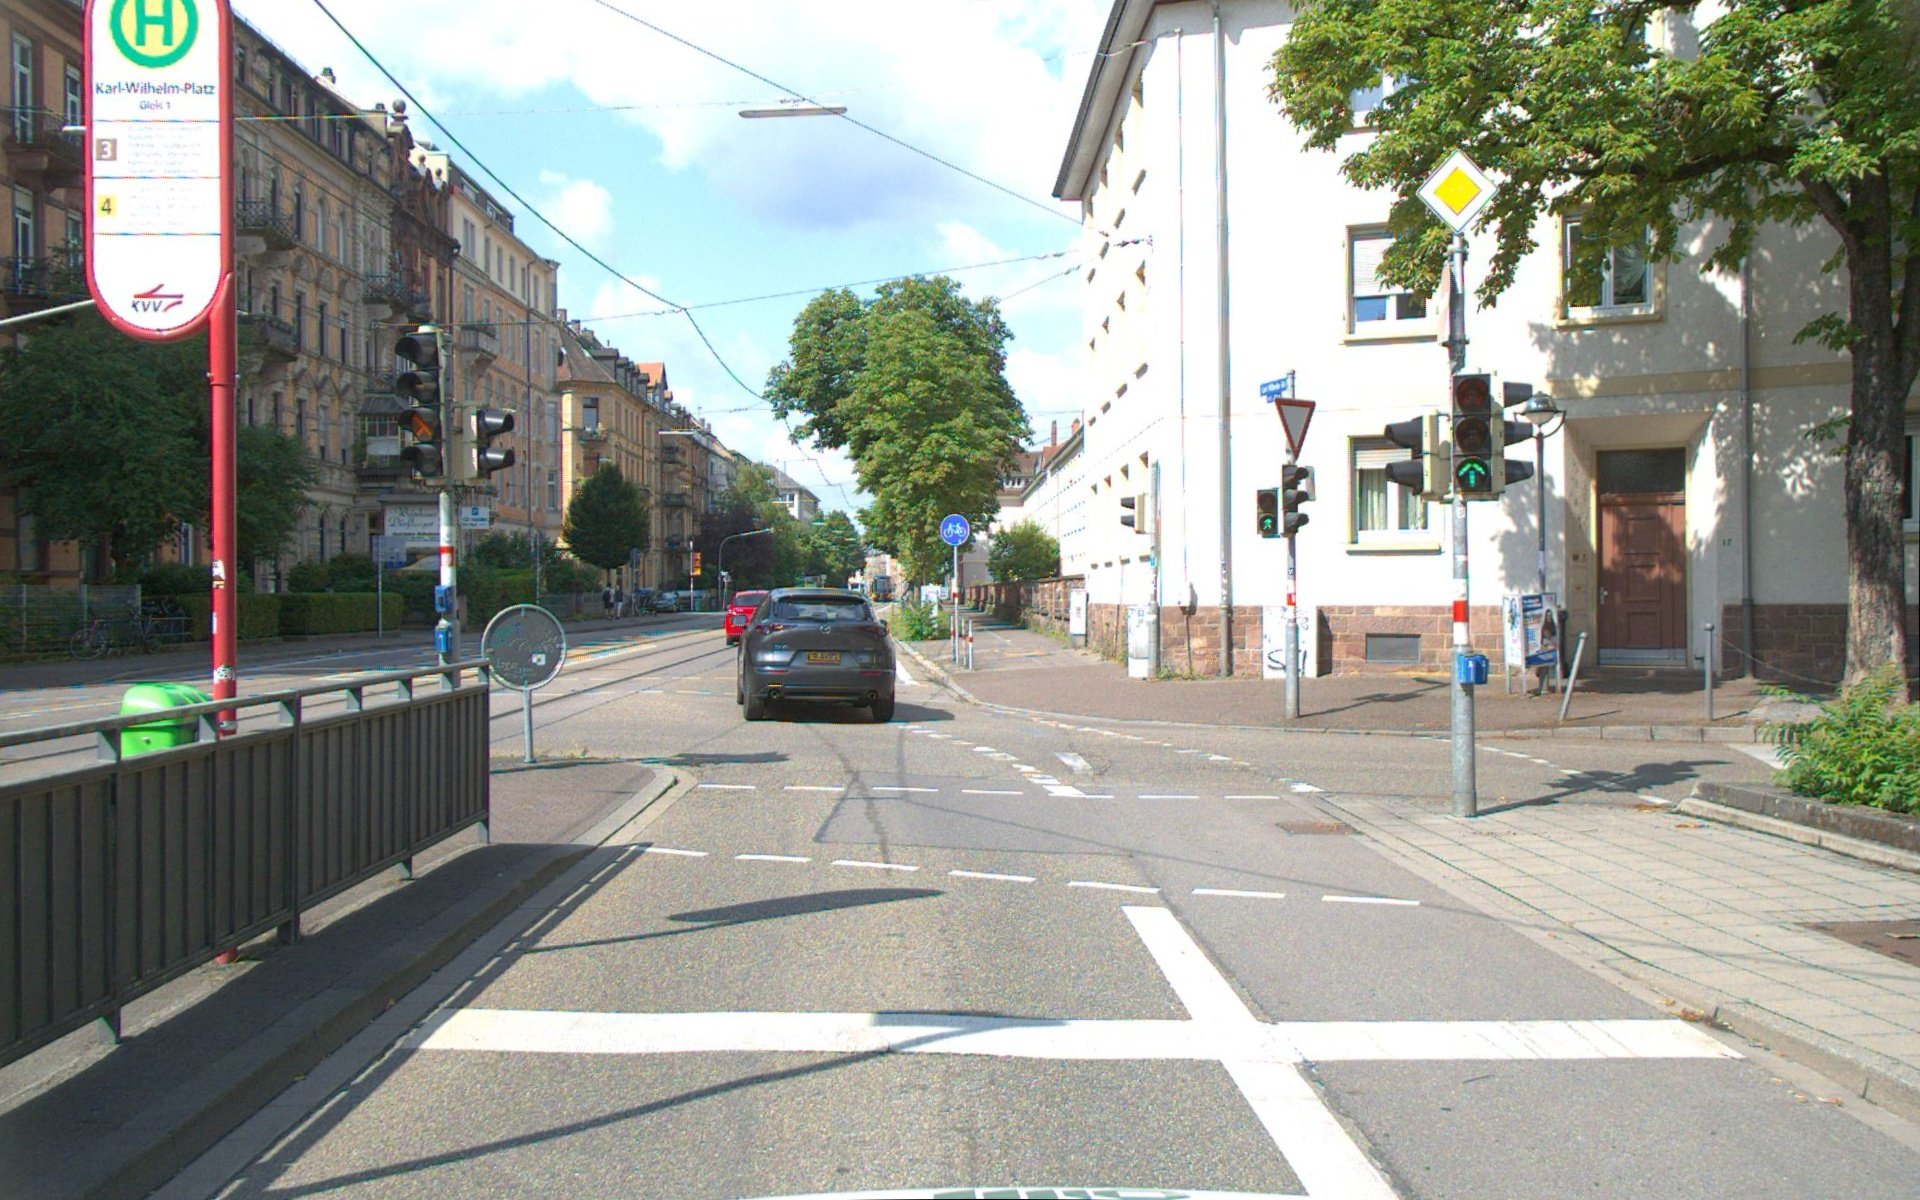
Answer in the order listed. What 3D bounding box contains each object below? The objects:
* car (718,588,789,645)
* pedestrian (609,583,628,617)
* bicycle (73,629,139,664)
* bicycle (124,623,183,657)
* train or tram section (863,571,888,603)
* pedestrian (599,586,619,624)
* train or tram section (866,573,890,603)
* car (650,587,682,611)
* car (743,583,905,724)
[{"bbox_3d":[-5.843,0.426,46.542,1.743,1.489,3.833,1,0,-10],"label":"car"},{"bbox_3d":[-17.040,-0.007,82.432,0.771,1.718,0.732,0,0,0],"label":"pedestrian"},{"bbox_3d":[-17.696,0.950,34.304,0.377,0.664,1.712,0,0,3],"label":"bicycle"},{"bbox_3d":[-17.794,0.867,36.509,0.377,0.689,1.712,0,0,3],"label":"bicycle"},{"bbox_3d":[-11.333,-1.696,222.293,2.937,4.053,13.804,-1,0,-1],"label":"train or tram section"},{"bbox_3d":[-16.324,0.233,76.872,0.771,1.718,0.732,0,0,0],"label":"pedestrian"},{"bbox_3d":[-11.626,-1.628,236.049,2.937,4.053,13.804,-1,0,-1],"label":"train or tram section"},{"bbox_3d":[-20.481,-0.089,115.368,1.623,1.624,3.928,-1,0,-2],"label":"car"},{"bbox_3d":[-1.783,0.593,20.578,1.749,1.540,3.993,2,0,-8],"label":"car"}]
